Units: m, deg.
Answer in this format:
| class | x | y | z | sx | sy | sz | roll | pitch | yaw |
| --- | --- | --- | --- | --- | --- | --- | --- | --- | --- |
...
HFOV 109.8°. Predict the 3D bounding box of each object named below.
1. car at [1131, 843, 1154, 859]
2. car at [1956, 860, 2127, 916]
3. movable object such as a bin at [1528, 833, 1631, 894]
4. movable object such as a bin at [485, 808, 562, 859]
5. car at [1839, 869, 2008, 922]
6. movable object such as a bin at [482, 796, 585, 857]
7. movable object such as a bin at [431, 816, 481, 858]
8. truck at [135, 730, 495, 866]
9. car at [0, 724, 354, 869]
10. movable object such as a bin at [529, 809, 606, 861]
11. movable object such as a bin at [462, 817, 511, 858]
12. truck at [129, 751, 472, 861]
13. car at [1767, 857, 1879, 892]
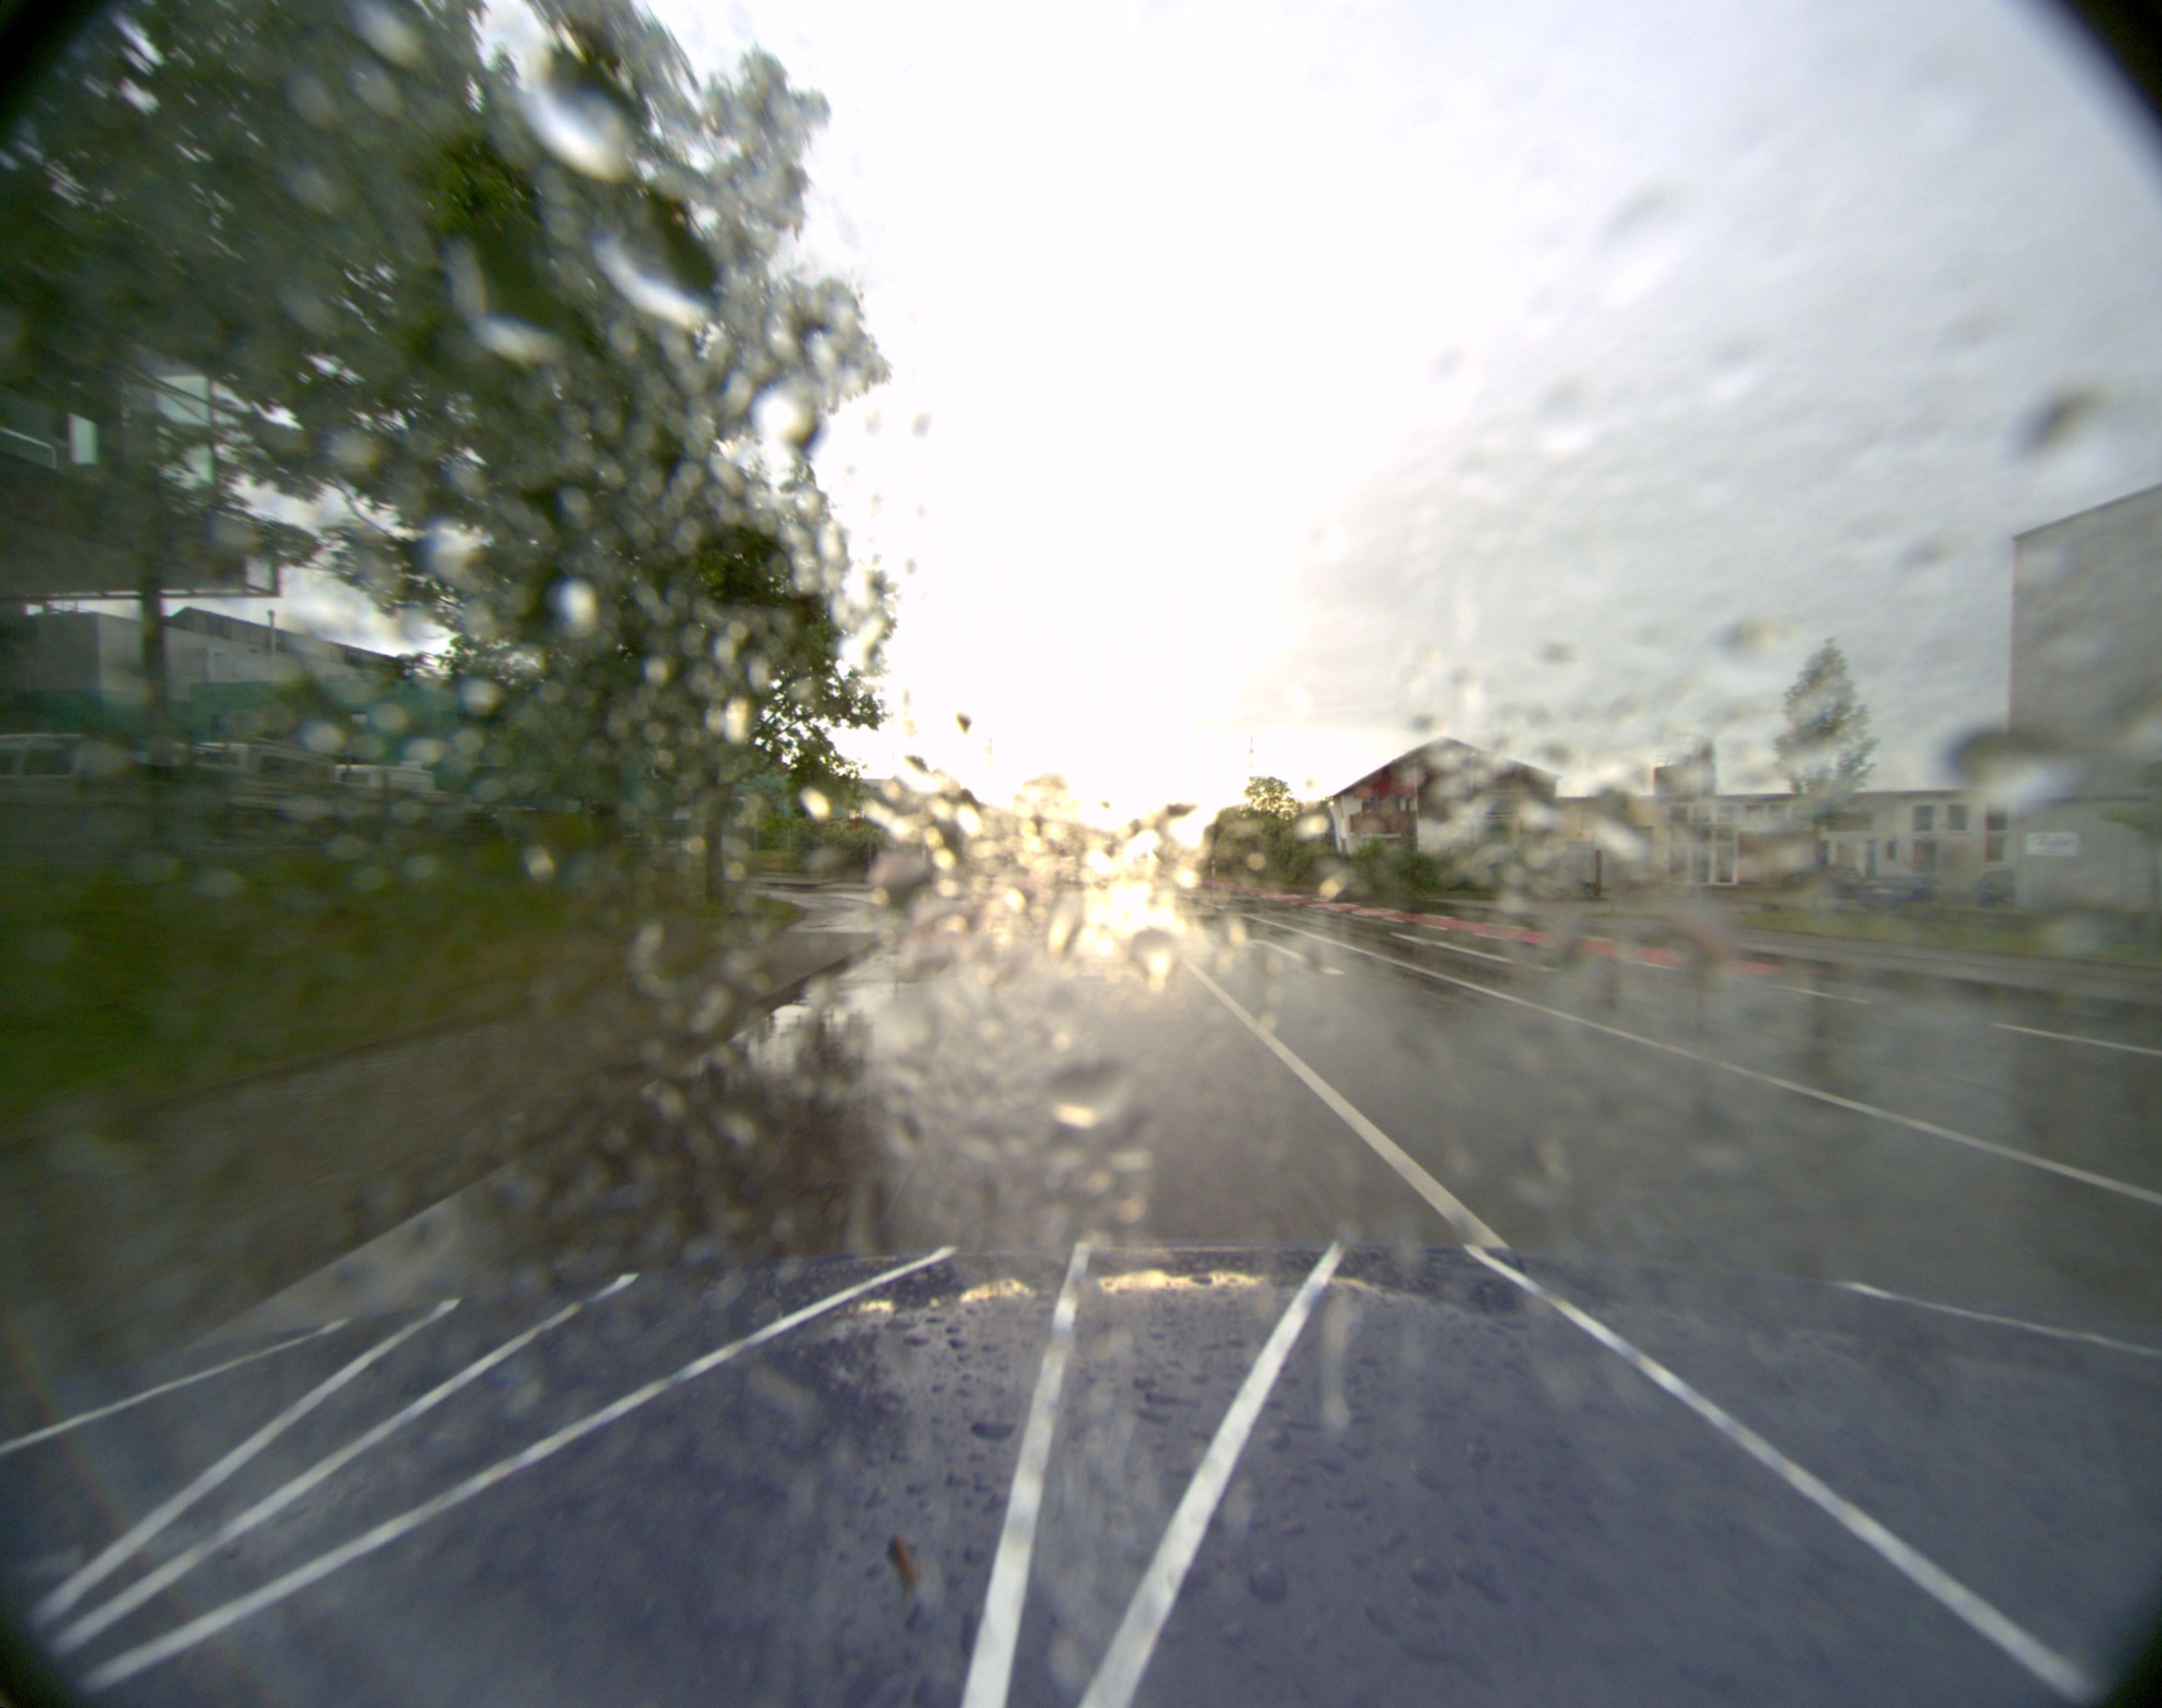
| class | x | y | z | sx | sy | sz | roll | pitch | yaw |
| --- | --- | --- | --- | --- | --- | --- | --- | --- | --- |
| car | 7.979 | -0.466 | 99.201 | 2.360 | 1.806 | 6.874 | 2 | 2 | -1 |
| car | 34.907 | 1.231 | 27.663 | 4.472 | 1.824 | 2.078 | 2 | 1 | -13 |
| movable object such as a bin | 22.367 | 0.396 | 34.194 | 3.335 | 2.542 | 1.739 | 2 | 1 | 6 |
| movable object such as a bin | -12.177 | -0.437 | 16.625 | 0.883 | 1.036 | 1.053 | 2 | 1 | 1 |
| car | 28.721 | 1.397 | 25.956 | 4.449 | 1.601 | 1.955 | 2 | 1 | -14 |
| movable object such as a bin | -14.576 | -0.720 | 20.311 | 1.860 | 1.492 | 1.309 | 2 | 1 | -15 |
| movable object such as a bin | -12.167 | -0.328 | 14.802 | 0.539 | 0.797 | 0.523 | 2 | 1 | -1 |
| truck | -15.044 | -1.044 | 15.193 | 4.834 | 2.328 | 2.249 | 2 | 1 | -1 |
| car | -15.192 | -0.884 | 12.183 | 4.936 | 2.002 | 2.062 | 2 | 1 | -2 |
| movable object such as a bin | -12.124 | -0.447 | 17.996 | 1.026 | 1.155 | 1.142 | 2 | 1 | -1 |
| movable object such as a bin | -12.166 | -0.337 | 15.561 | 0.539 | 0.813 | 0.566 | 2 | 1 | -1 |
| truck | -17.998 | -1.065 | 17.771 | 5.650 | 2.201 | 2.111 | 2 | 1 | -3 |
| car | 36.479 | 0.951 | 37.520 | 1.997 | 1.546 | 4.003 | 2 | 1 | 11 |
